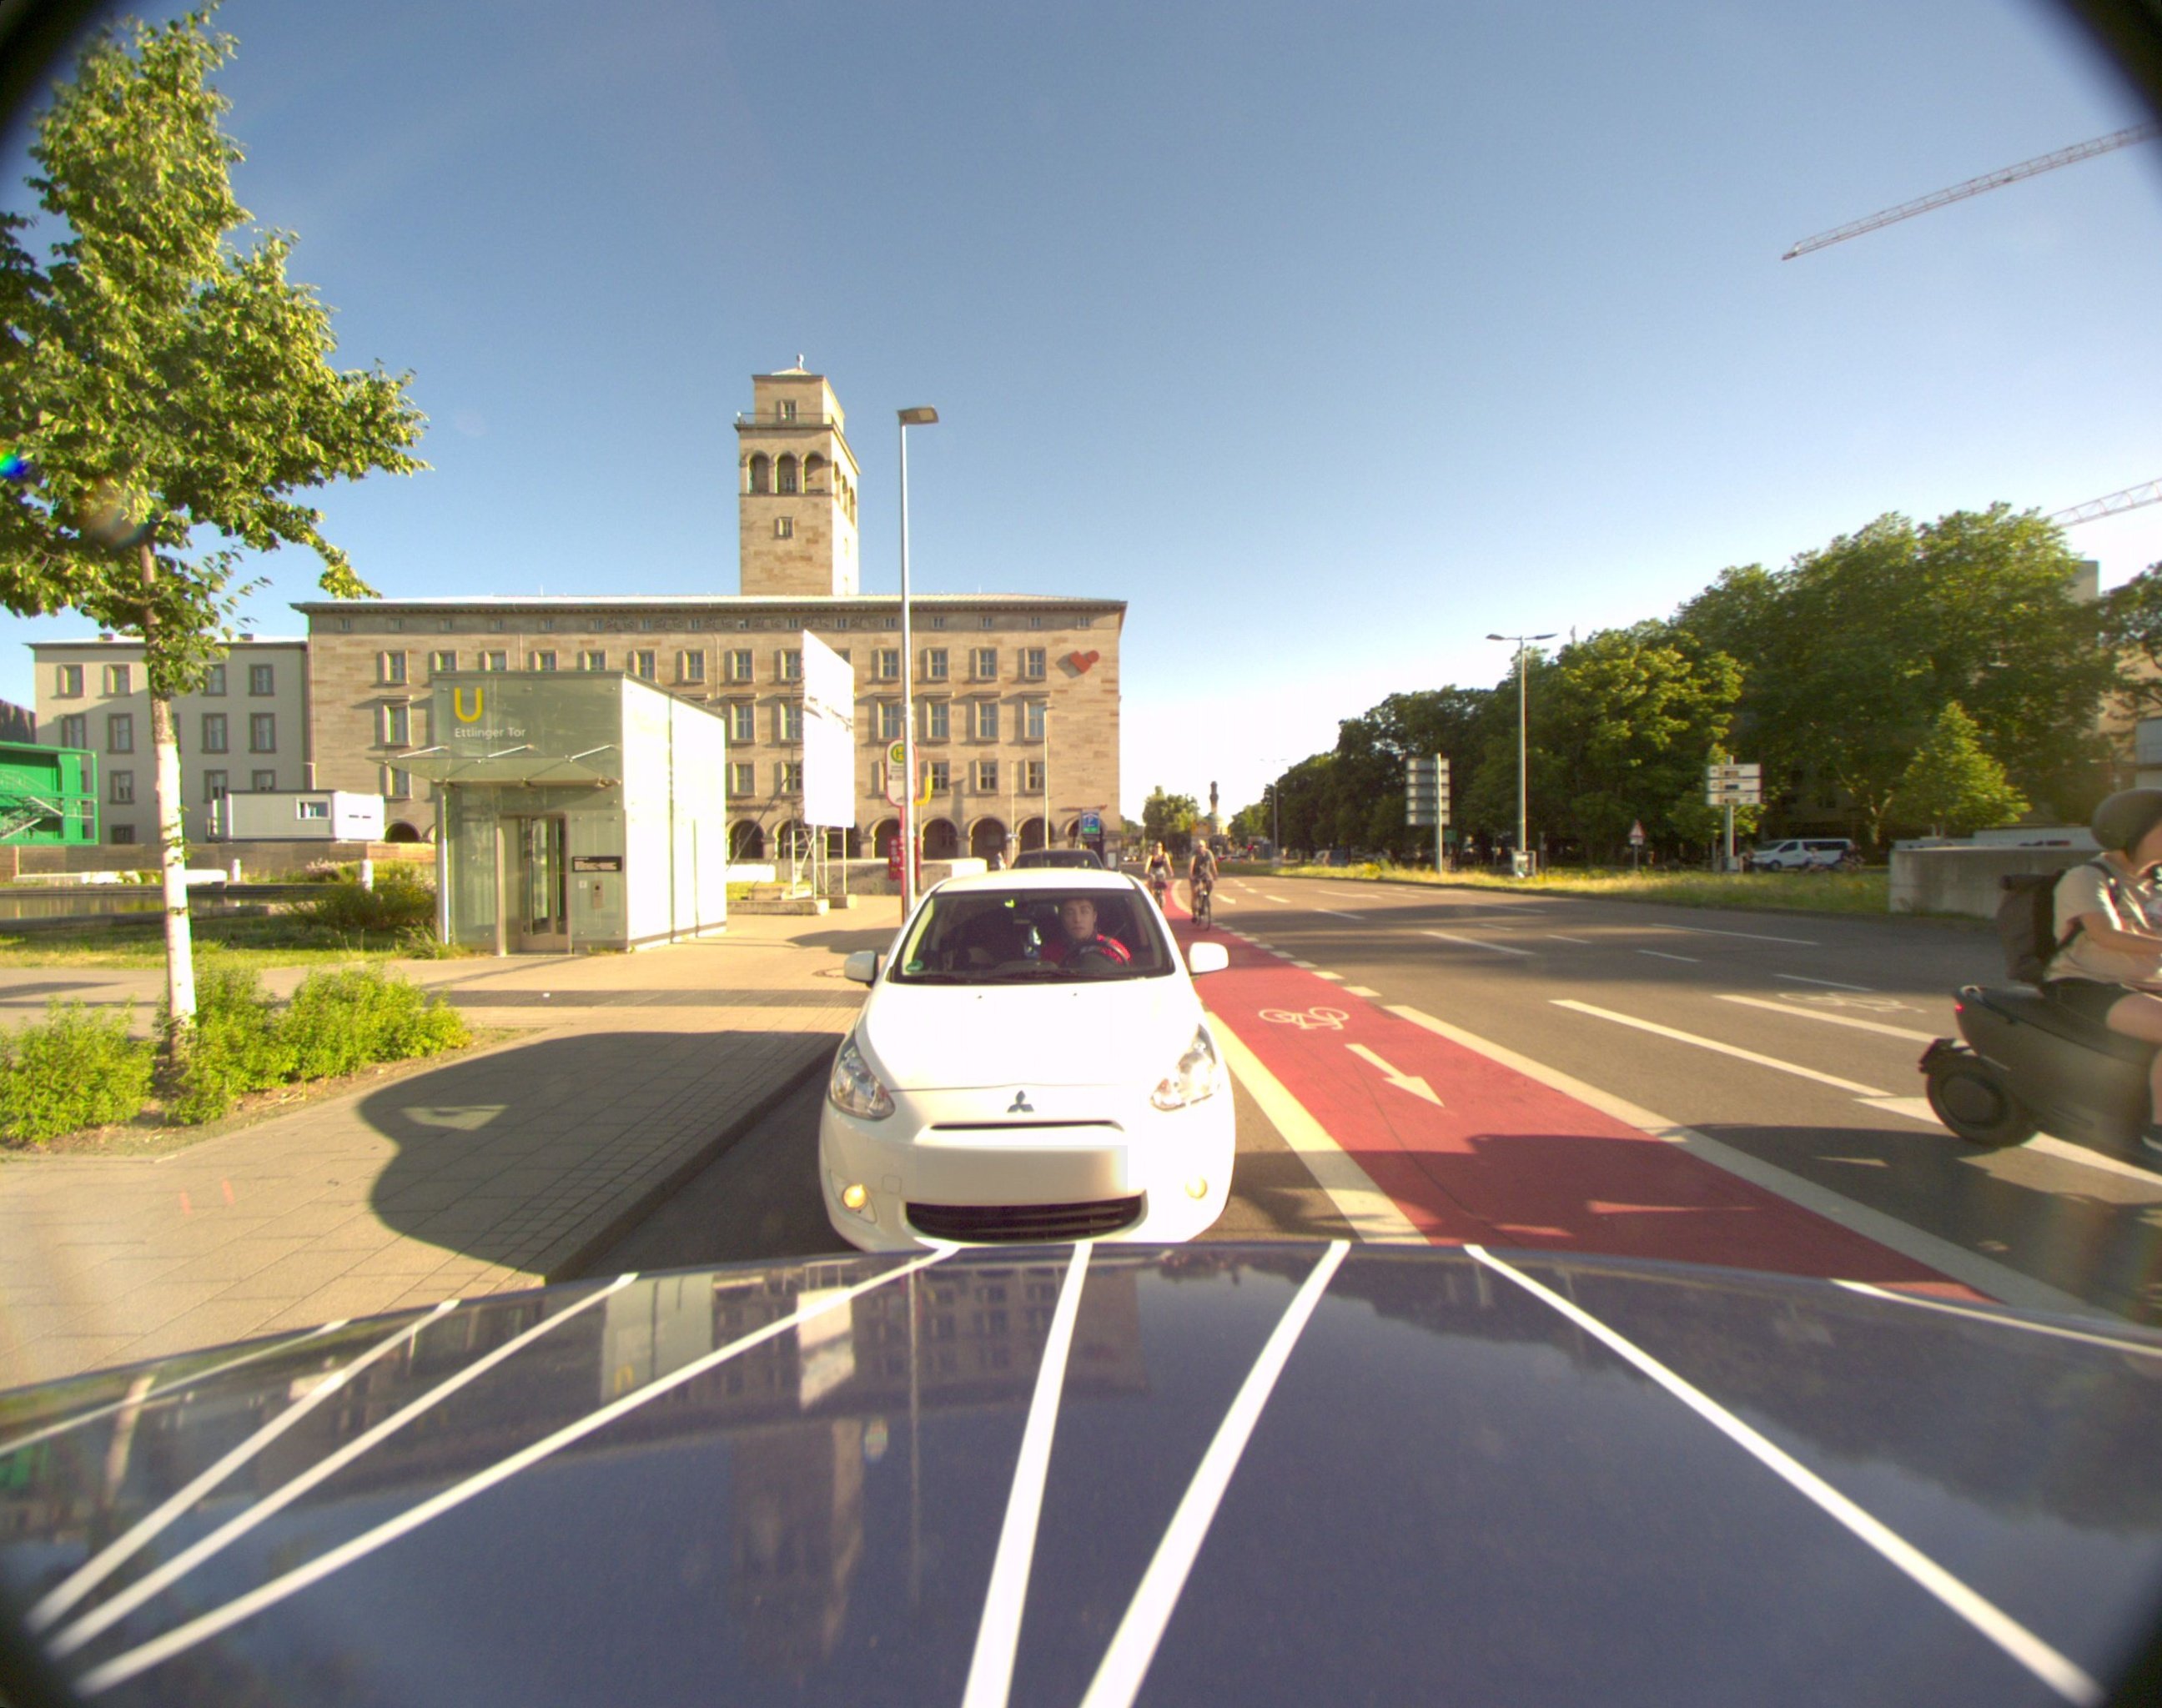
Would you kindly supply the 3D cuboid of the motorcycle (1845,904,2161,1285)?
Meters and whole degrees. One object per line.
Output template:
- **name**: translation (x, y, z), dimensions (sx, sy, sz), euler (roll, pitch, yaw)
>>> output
- **motorcycle**: translation (4.275, 0.899, 2.876), dimensions (0.828, 1.273, 1.944), euler (-1, 0, 1)

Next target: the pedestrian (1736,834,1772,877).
- **pedestrian**: translation (32.463, 0.074, 36.674), dimensions (0.956, 2.002, 0.841), euler (-2, 1, 8)

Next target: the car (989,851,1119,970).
- **car**: translation (-0.361, 0.798, 12.818), dimensions (1.833, 1.660, 4.000), euler (-1, 0, 1)

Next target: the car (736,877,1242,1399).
- **car**: translation (-0.253, 0.928, 4.307), dimensions (1.519, 1.447, 4.000), euler (-1, 0, 1)

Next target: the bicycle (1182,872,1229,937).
- **bicycle**: translation (2.440, 0.970, 15.039), dimensions (0.689, 1.185, 1.506), euler (-1, 1, 1)

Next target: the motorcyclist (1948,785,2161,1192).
- **motorcyclist**: translation (4.275, 0.474, 2.945), dimensions (0.823, 1.455, 0.877), euler (-1, 1, 1)

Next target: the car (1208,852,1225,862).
- **car**: translation (20.309, 0.420, 113.705), dimensions (1.881, 1.472, 3.980), euler (-1, 0, 1)

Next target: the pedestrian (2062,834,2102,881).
- **pedestrian**: translation (34.784, 0.112, 26.409), dimensions (0.588, 1.593, 0.598), euler (-2, 1, -2)

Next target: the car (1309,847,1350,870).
- **car**: translation (21.602, 0.332, 66.258), dimensions (1.887, 1.911, 4.930), euler (-1, 0, -2)

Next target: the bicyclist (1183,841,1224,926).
- **bicyclist**: translation (2.440, 0.565, 15.165), dimensions (0.674, 1.649, 0.877), euler (-1, 1, 1)

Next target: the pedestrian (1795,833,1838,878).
- **pedestrian**: translation (33.471, 0.064, 34.599), dimensions (1.126, 1.952, 0.815), euler (-2, 1, 1)

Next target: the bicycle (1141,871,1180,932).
- **bicycle**: translation (1.669, 0.988, 16.198), dimensions (0.689, 1.185, 1.506), euler (-1, 1, 1)

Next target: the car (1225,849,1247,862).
- **car**: translation (17.600, 0.186, 86.425), dimensions (1.728, 1.369, 3.943), euler (-1, 0, 1)

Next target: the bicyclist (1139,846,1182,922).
- **bicyclist**: translation (1.683, 0.614, 16.231), dimensions (0.823, 1.568, 0.877), euler (-1, 1, 1)

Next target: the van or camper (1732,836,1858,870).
- **van or camper**: translation (42.242, -0.055, 45.060), dimensions (5.499, 1.934, 1.951), euler (-1, 0, 4)

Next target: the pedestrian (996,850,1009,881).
- **pedestrian**: translation (-4.446, 0.651, 43.074), dimensions (0.595, 1.700, 0.583), euler (-1, 1, 1)

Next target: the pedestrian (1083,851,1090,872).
- **pedestrian**: translation (0.448, 0.582, 59.588), dimensions (0.552, 1.692, 0.553), euler (-1, 1, -1)
